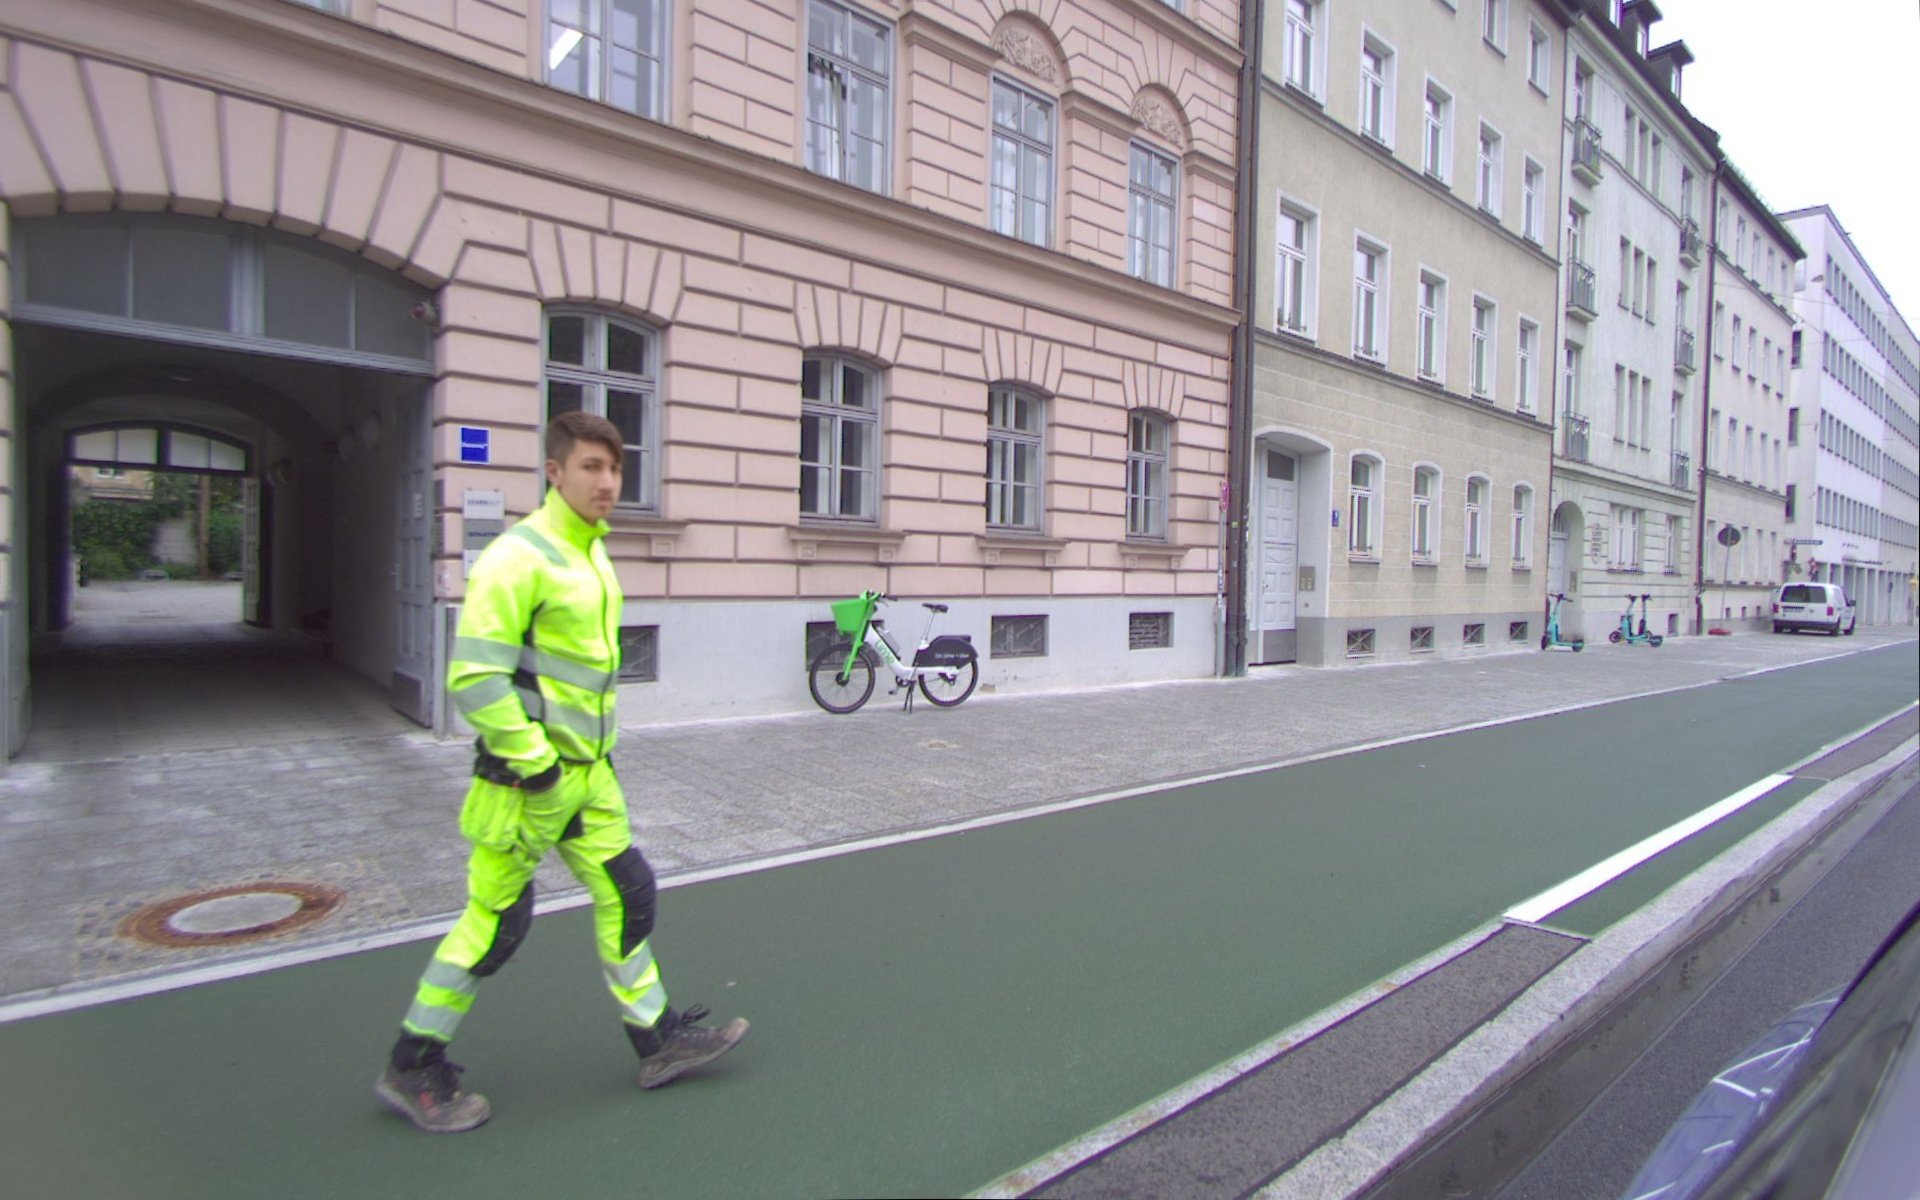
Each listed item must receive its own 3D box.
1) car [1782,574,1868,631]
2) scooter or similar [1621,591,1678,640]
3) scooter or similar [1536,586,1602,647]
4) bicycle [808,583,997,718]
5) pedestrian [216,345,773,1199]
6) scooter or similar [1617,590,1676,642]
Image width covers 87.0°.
[{"bbox_3d":[30.446,0.065,35.581,3.931,1.855,1.764,0,2,-42],"label":"car"},{"bbox_3d":[17.591,0.387,25.830,1.059,1.207,0.436,2,1,10],"label":"scooter or similar"},{"bbox_3d":[13.100,0.356,21.774,1.055,1.260,0.554,1,1,-6],"label":"scooter or similar"},{"bbox_3d":[-0.535,0.455,9.640,1.690,1.191,0.558,1,1,-26],"label":"bicycle"},{"bbox_3d":[-1.058,0.374,2.533,0.975,1.825,0.814,0,2,5],"label":"pedestrian"},{"bbox_3d":[16.781,0.386,24.757,1.064,1.207,0.451,2,1,20],"label":"scooter or similar"}]
